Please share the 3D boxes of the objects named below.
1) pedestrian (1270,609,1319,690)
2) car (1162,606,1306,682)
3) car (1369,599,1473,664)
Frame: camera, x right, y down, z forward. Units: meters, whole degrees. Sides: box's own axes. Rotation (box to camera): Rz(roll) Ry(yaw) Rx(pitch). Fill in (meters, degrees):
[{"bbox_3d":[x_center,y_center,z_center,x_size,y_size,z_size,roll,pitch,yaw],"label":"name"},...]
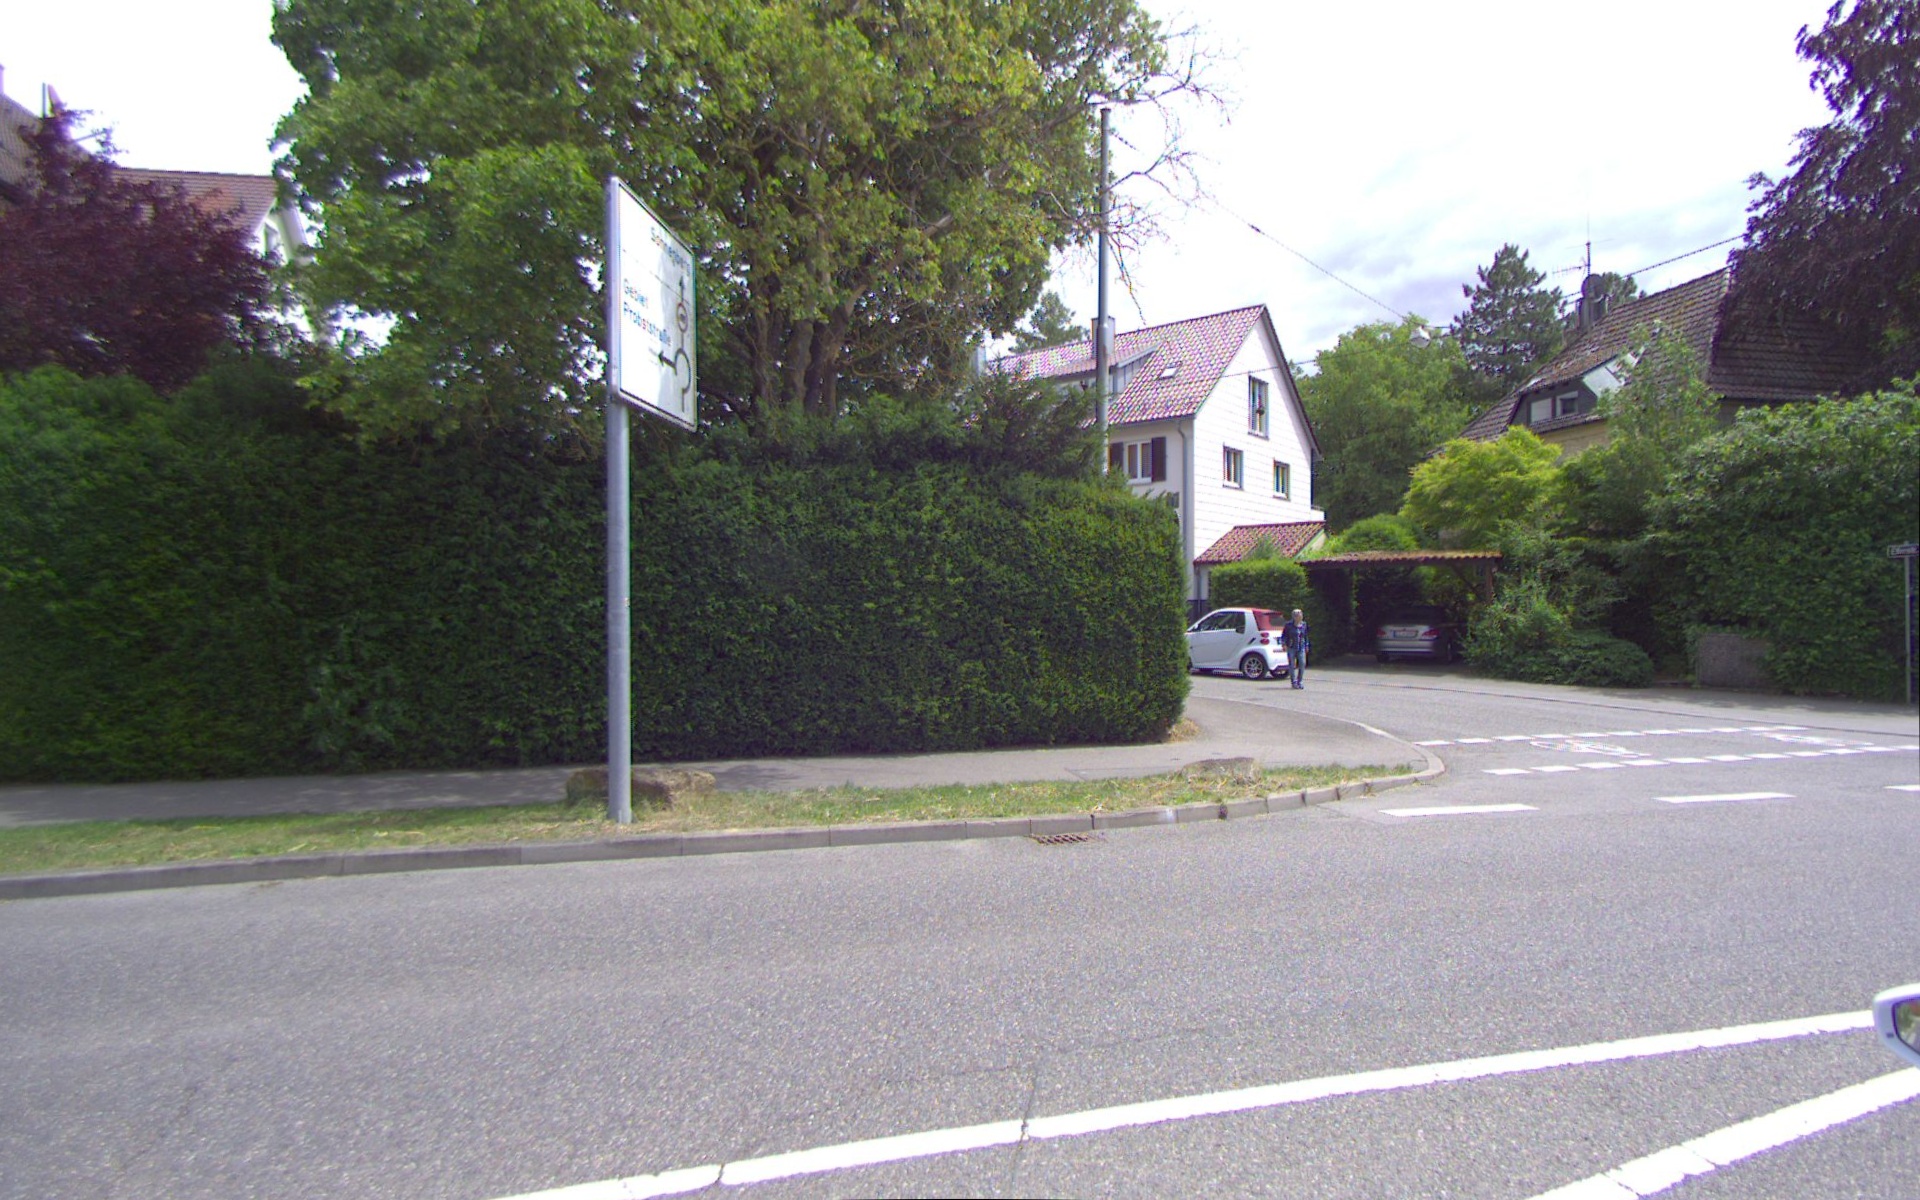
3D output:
[{"bbox_3d":[6.536,0.956,19.622,0.720,1.529,0.625,1,0,40],"label":"pedestrian"},{"bbox_3d":[6.229,0.953,22.941,2.738,1.576,1.581,1,0,42],"label":"car"},{"bbox_3d":[11.968,0.751,25.944,1.700,1.530,3.986,1,0,36],"label":"car"}]
